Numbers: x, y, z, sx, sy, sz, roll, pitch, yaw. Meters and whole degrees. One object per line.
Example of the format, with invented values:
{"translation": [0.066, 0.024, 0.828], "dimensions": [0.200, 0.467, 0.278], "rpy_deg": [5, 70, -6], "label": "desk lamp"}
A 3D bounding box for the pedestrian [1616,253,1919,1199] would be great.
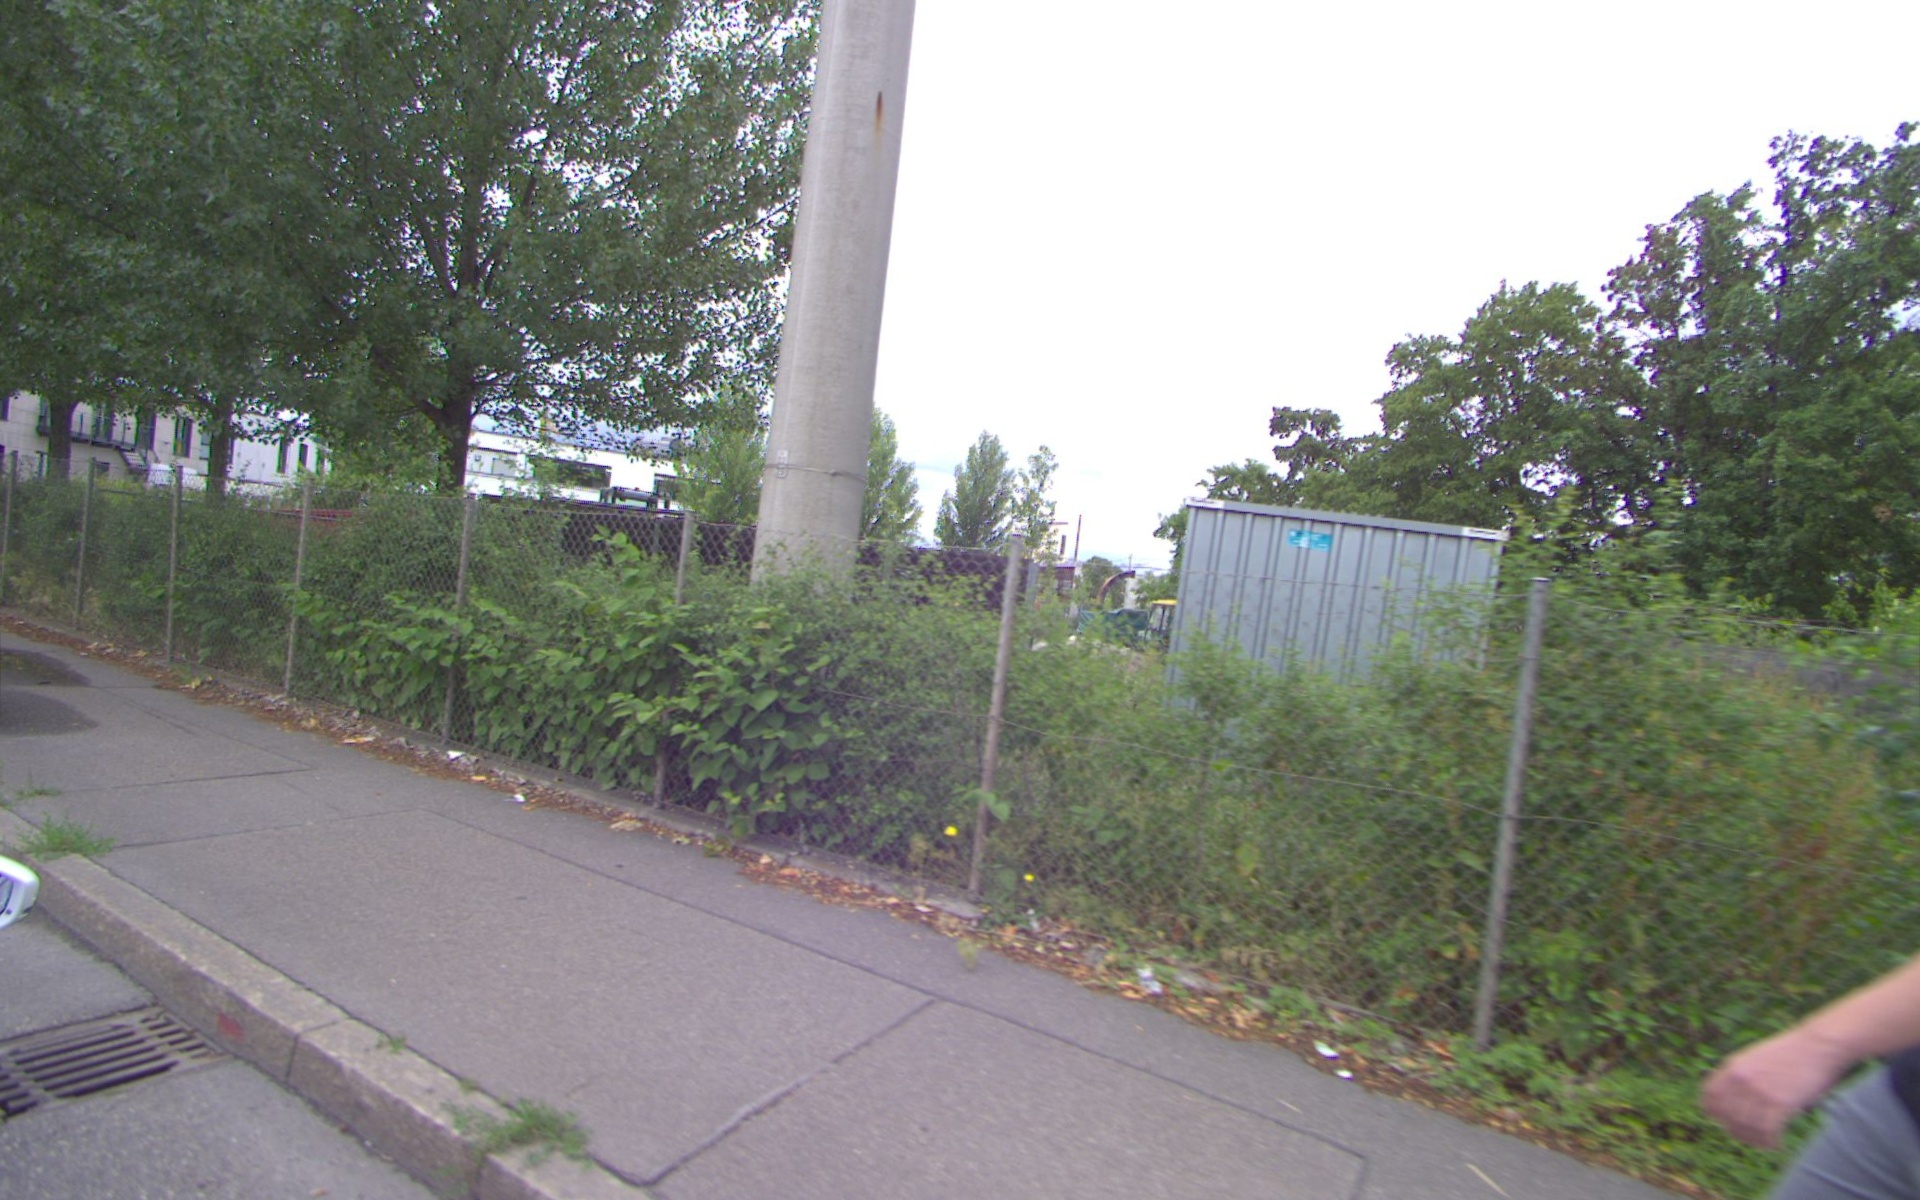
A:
{"translation": [1.200, 0.619, 1.183], "dimensions": [0.661, 1.890, 0.603], "rpy_deg": [3, 0, 32], "label": "pedestrian"}

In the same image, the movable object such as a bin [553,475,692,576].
{"translation": [-8.206, -1.672, 24.205], "dimensions": [1.980, 2.038, 4.258], "rpy_deg": [4, -1, -35], "label": "movable object such as a bin"}
